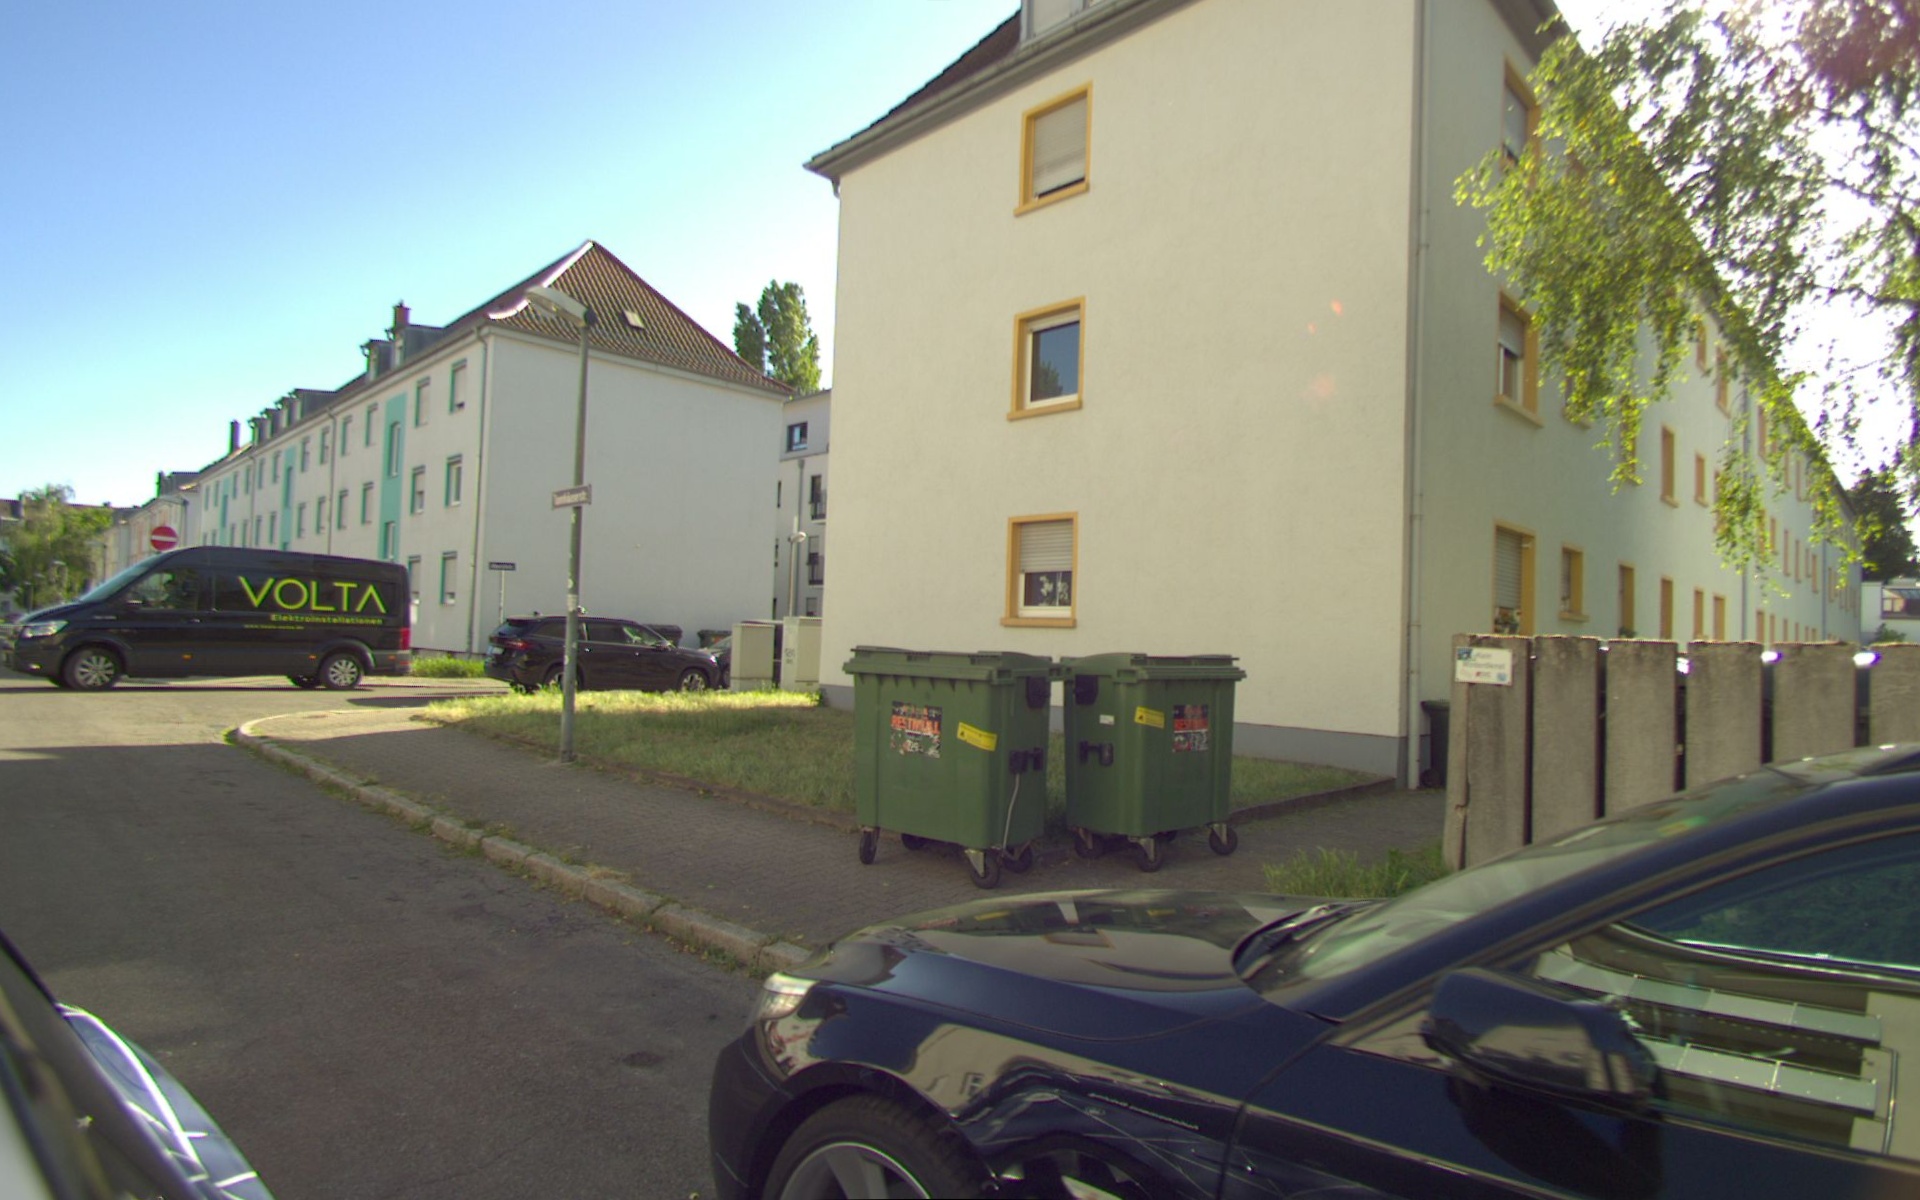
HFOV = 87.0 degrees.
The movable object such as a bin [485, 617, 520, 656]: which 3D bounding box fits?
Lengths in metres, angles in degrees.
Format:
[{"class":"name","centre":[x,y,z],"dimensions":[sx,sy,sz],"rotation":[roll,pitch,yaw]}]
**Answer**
[{"class":"movable object such as a bin","centre":[-12.262,0.976,27.102],"dimensions":[0.715,0.999,0.606],"rotation":[-1,-3,44]}]

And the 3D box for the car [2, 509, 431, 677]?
[{"class":"car","centre":[-13.154,0.039,18.375],"dimensions":[1.999,2.564,5.879],"rotation":[0,-3,41]}]

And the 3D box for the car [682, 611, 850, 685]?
[{"class":"car","centre":[-5.090,1.305,26.859],"dimensions":[1.867,1.708,3.941],"rotation":[0,-5,45]}]

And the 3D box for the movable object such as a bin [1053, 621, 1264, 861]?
[{"class":"movable object such as a bin","centre":[1.317,0.859,6.648],"dimensions":[1.205,1.391,0.768],"rotation":[3,-2,-42]}]

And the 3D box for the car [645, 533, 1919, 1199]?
[{"class":"car","centre":[1.661,0.756,1.278],"dimensions":[4.618,1.464,1.661],"rotation":[1,-6,41]}]

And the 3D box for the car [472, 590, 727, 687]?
[{"class":"car","centre":[-7.136,0.826,20.367],"dimensions":[1.721,1.676,4.436],"rotation":[2,-3,45]}]

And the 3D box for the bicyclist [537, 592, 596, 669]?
[{"class":"bicyclist","centre":[-8.326,0.649,21.442],"dimensions":[0.597,1.591,0.895],"rotation":[1,-3,39]}]

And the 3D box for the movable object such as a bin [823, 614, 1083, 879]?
[{"class":"movable object such as a bin","centre":[-0.067,0.814,6.226],"dimensions":[1.417,1.403,0.767],"rotation":[0,-3,43]}]

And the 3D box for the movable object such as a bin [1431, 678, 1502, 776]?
[{"class":"movable object such as a bin","centre":[5.275,1.304,10.540],"dimensions":[0.546,0.939,0.483],"rotation":[3,-2,-42]}]

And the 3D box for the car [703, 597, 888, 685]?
[{"class":"car","centre":[-3.789,0.998,23.750],"dimensions":[1.721,1.802,3.945],"rotation":[2,-3,45]}]
